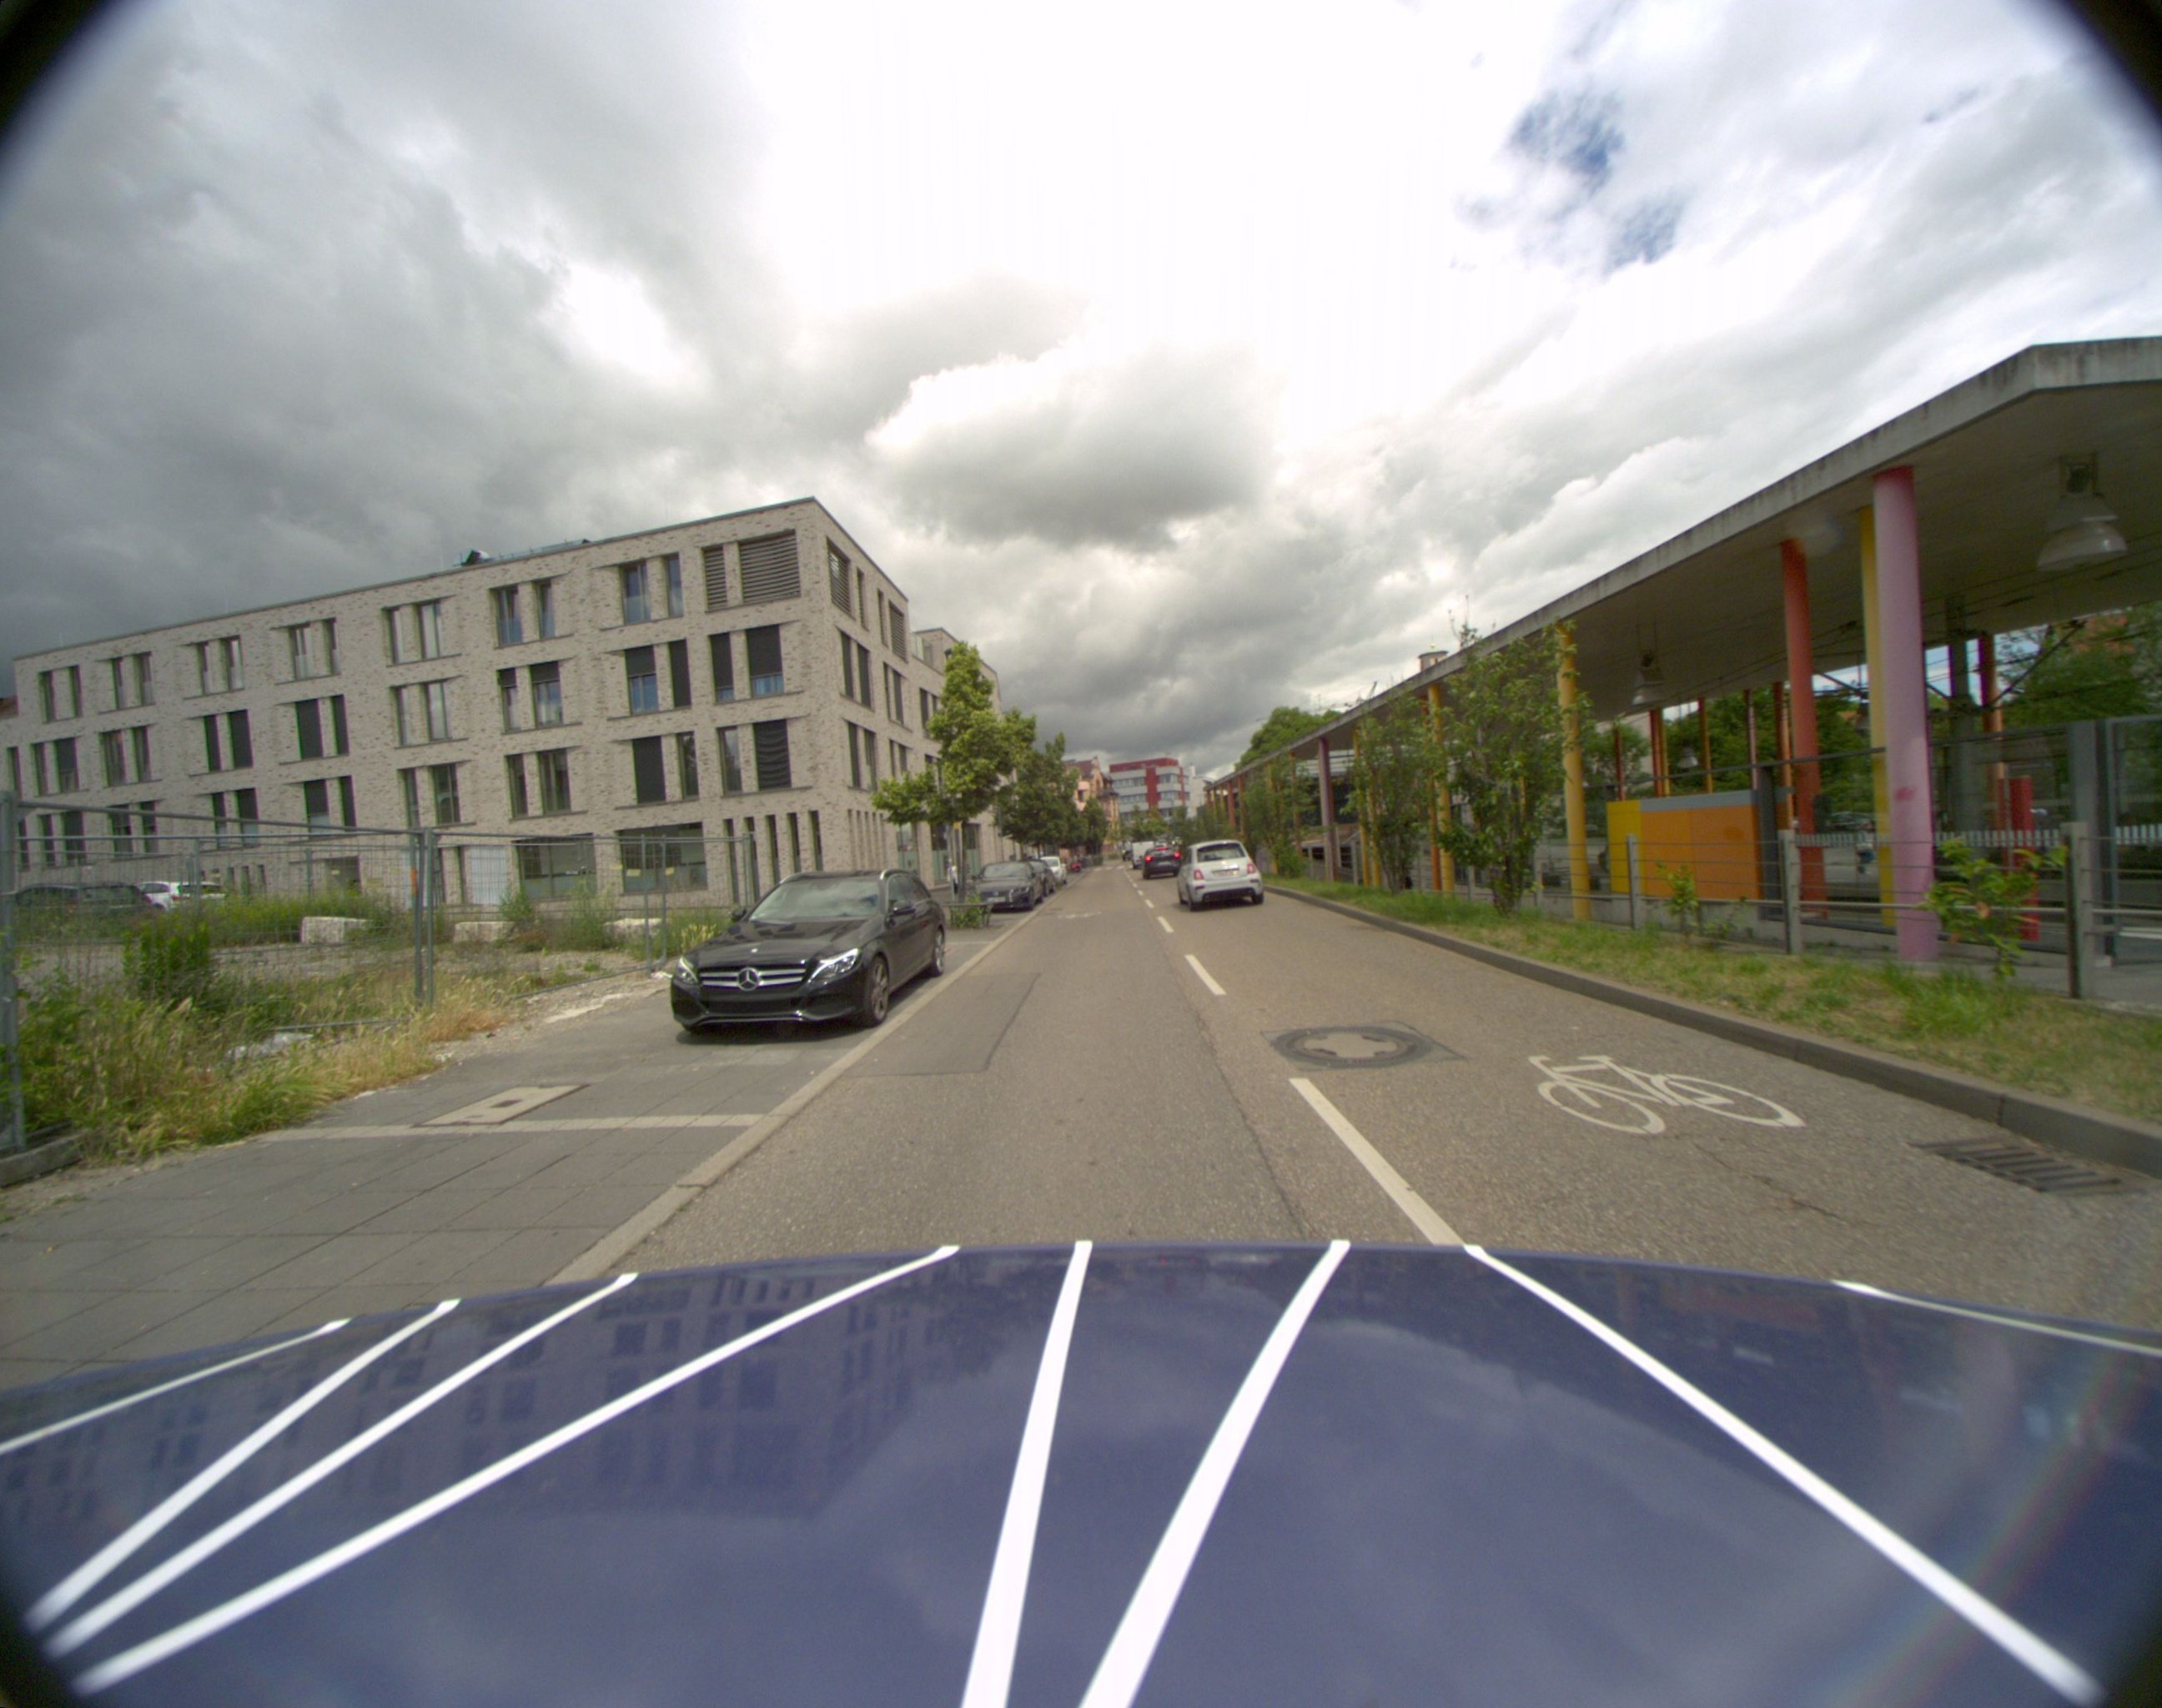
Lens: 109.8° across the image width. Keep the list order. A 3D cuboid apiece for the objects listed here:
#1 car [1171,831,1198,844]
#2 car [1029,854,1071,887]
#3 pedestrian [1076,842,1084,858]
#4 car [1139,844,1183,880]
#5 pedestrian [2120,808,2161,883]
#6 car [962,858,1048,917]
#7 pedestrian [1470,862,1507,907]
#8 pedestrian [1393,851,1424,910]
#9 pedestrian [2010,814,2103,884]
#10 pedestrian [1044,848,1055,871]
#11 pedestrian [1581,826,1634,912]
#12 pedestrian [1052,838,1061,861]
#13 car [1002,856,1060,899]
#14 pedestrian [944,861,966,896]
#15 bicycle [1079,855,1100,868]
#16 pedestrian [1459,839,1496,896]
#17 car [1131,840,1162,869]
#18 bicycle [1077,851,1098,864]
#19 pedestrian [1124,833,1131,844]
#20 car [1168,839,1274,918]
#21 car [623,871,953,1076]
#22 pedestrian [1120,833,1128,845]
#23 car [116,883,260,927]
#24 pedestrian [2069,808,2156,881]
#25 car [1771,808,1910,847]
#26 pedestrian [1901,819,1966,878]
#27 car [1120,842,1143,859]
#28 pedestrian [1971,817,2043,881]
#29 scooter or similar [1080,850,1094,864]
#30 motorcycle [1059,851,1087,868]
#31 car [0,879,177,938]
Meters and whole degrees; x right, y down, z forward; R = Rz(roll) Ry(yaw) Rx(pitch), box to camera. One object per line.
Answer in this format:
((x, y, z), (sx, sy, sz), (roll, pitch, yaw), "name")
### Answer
((16.708, -2.712, 122.432), (4.005, 1.653, 1.839), (-7, 3, -35), "car")
((-1.555, 0.796, 39.263), (1.696, 1.475, 3.798), (-3, 1, 4), "car")
((-0.120, -0.464, 84.286), (0.659, 1.732, 1.018), (-4, 2, 8), "pedestrian")
((3.895, 0.349, 37.512), (1.729, 1.512, 4.254), (-6, 1, 2), "car")
((20.635, -0.169, 14.388), (0.824, 1.371, 0.702), (-6, 0, 3), "pedestrian")
((-2.174, 0.935, 23.038), (1.869, 1.443, 4.643), (-3, 1, 3), "car")
((10.336, 0.774, 19.283), (0.566, 1.076, 0.484), (-6, 0, 2), "pedestrian")
((10.630, 0.846, 24.673), (0.588, 1.820, 0.710), (-6, 3, 4), "pedestrian")
((20.733, -0.100, 16.165), (0.929, 1.371, 0.702), (-6, 0, 3), "pedestrian")
((-2.545, 0.455, 61.948), (0.757, 1.757, 0.734), (-4, 3, -3), "pedestrian")
((10.357, 0.287, 14.963), (0.532, 1.623, 0.548), (-6, 0, 2), "pedestrian")
((-1.953, -0.358, 61.287), (0.623, 1.757, 0.737), (-4, 2, -1), "pedestrian")
((-1.903, 0.874, 30.200), (1.696, 1.453, 4.147), (-3, 1, 4), "car")
((-5.485, 1.051, 33.152), (0.608, 1.464, 0.791), (-3, 1, 11), "pedestrian")
((0.842, 0.747, 75.156), (1.826, 1.194, 0.756), (-3, 2, 9), "bicycle")
((11.671, 0.387, 22.396), (0.631, 1.604, 0.636), (-6, 0, 4), "pedestrian")
((4.853, -0.017, 57.045), (2.008, 1.906, 5.064), (-6, 1, 3), "car")
((0.642, 0.365, 74.342), (1.826, 1.125, 0.756), (-3, 2, 9), "bicycle")
((7.189, -2.345, 116.887), (0.696, 1.649, 0.741), (-4, 3, 28), "pedestrian")
((3.204, 0.512, 18.176), (1.775, 1.499, 4.000), (-6, 0, 2), "car")
((-2.755, 1.025, 8.413), (1.786, 1.443, 4.476), (-3, 1, 1), "car")
((6.637, -2.325, 117.514), (0.738, 1.631, 0.676), (-3, 4, 41), "pedestrian")
((-34.212, 1.907, 29.136), (4.253, 1.596, 1.872), (-1, -2, 15), "car")
((20.717, -0.187, 15.276), (0.653, 1.371, 0.702), (-6, 0, 3), "pedestrian")
((33.233, -1.165, 33.365), (3.992, 1.330, 1.571), (-5, 3, 18), "car")
((21.008, -0.124, 18.745), (0.687, 1.371, 0.705), (-6, 0, 3), "pedestrian")
((5.639, -0.414, 84.586), (1.802, 1.572, 4.001), (-5, 3, 13), "car")
((21.019, -0.106, 17.264), (0.653, 1.371, 0.702), (-6, 0, 3), "pedestrian")
((0.543, 0.295, 72.432), (1.198, 1.243, 0.494), (-3, 2, 9), "scooter or similar")
((-0.634, 0.457, 60.431), (2.052, 1.259, 0.673), (-2, 3, 20), "motorcycle")
((-29.991, 1.628, 22.953), (4.252, 1.596, 1.871), (-1, 0, 16), "car")
